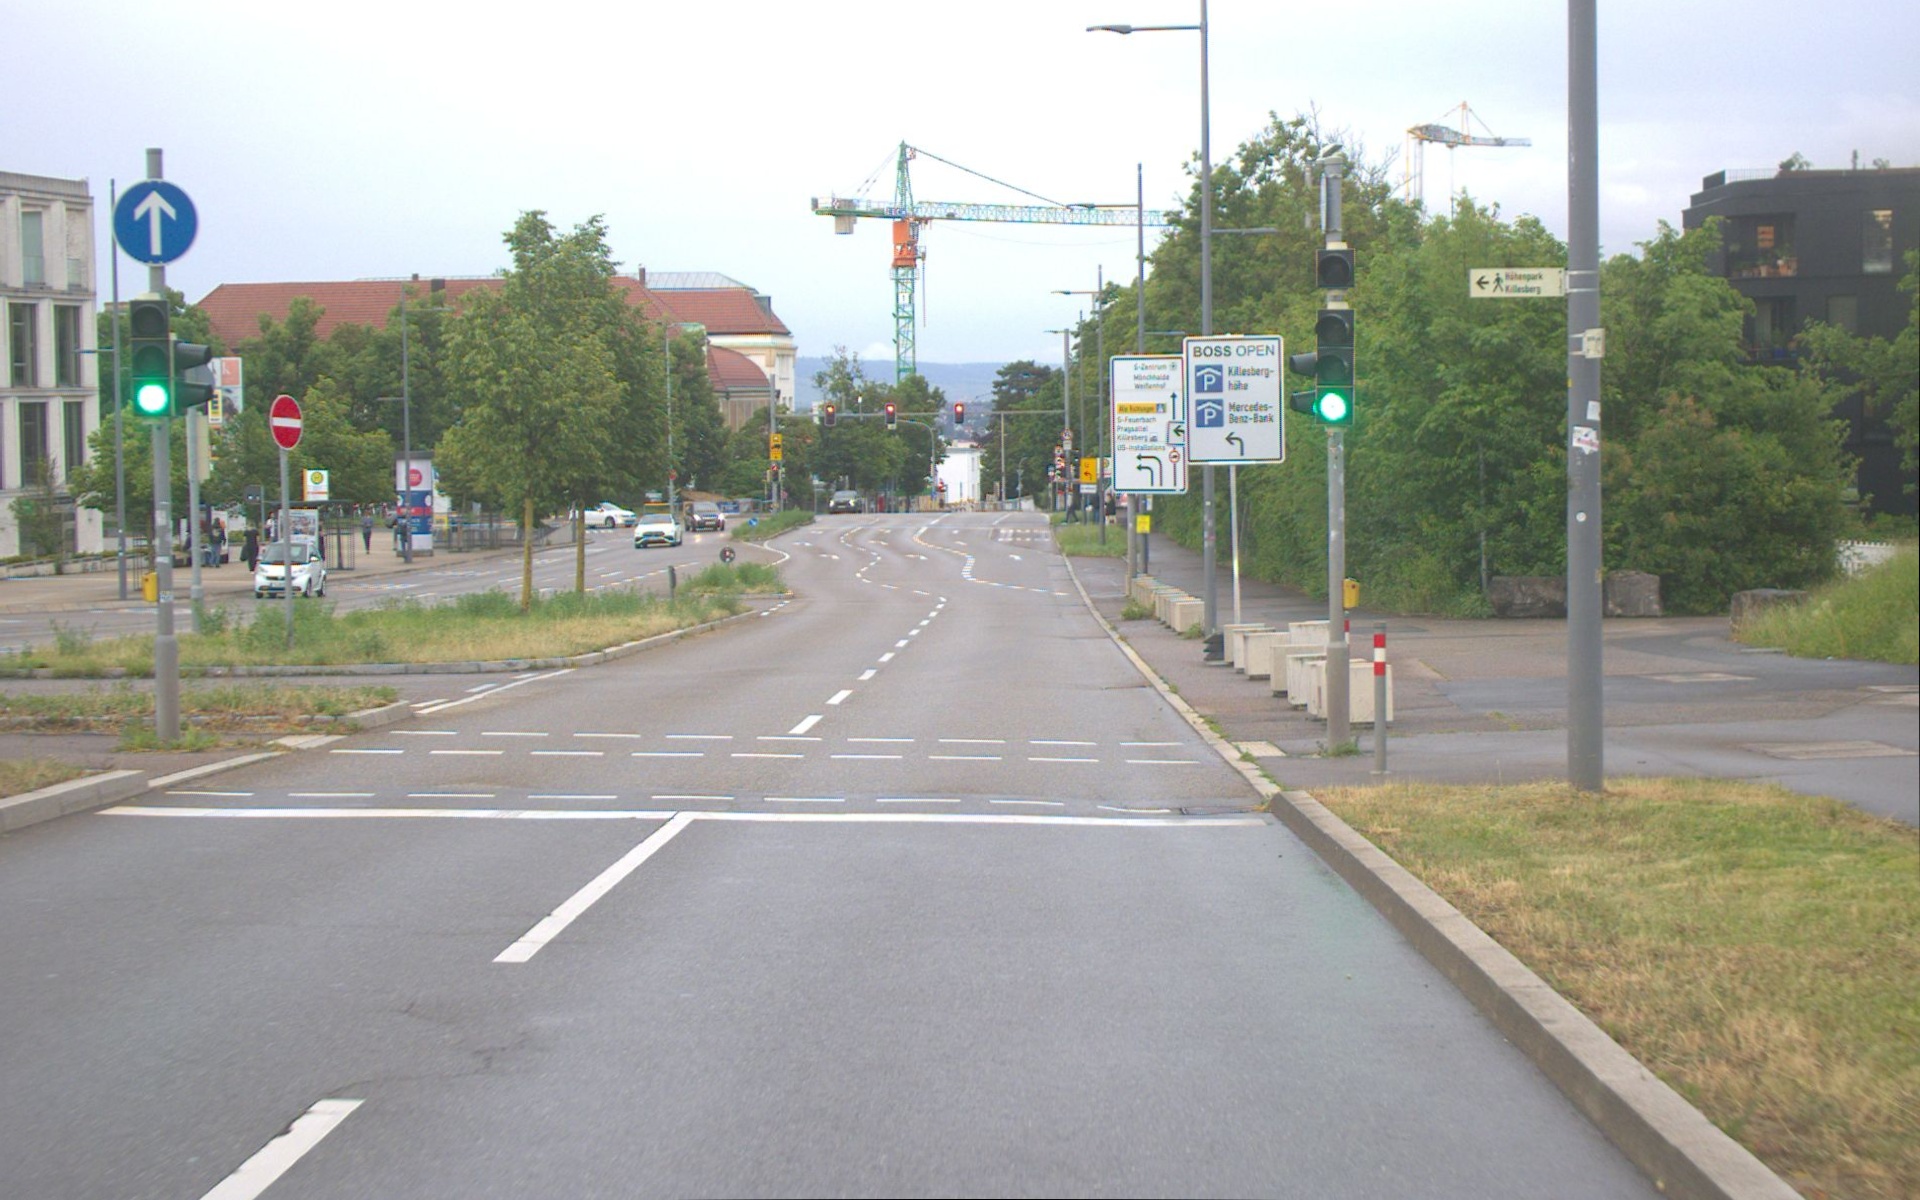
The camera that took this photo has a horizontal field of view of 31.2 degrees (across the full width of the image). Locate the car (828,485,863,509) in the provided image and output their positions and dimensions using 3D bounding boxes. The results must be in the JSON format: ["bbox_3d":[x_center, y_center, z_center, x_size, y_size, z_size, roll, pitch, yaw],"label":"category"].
[{"bbox_3d":[-7.721,-6.958,232.048,1.770,1.489,4.067,-1,0,6],"label":"car"}]

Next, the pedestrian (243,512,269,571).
[{"bbox_3d":[-23.181,-1.920,113.182,0.748,1.940,0.838,-1,0,-17],"label":"pedestrian"}]

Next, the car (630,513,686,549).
[{"bbox_3d":[-13.270,-3.028,151.161,1.769,1.489,4.067,-1,0,5],"label":"car"}]

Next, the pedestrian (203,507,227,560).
[{"bbox_3d":[-26.211,-2.341,120.915,0.748,1.846,0.838,-1,0,-17],"label":"pedestrian"}]

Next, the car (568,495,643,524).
[{"bbox_3d":[-19.814,-5.071,192.357,3.879,1.489,1.734,-1,0,29],"label":"car"}]

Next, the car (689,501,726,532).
[{"bbox_3d":[-13.165,-4.329,179.175,1.769,1.489,4.068,-1,0,-6],"label":"car"}]

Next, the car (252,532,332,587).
[{"bbox_3d":[-18.540,-1.105,95.541,1.478,1.489,2.530,-1,0,6],"label":"car"}]

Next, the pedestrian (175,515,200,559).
[{"bbox_3d":[-27.205,-2.210,121.096,0.835,1.527,0.751,-1,0,-12],"label":"pedestrian"}]

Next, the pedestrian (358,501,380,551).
[{"bbox_3d":[-23.814,-2.982,138.565,0.748,2.007,0.838,-1,0,-17],"label":"pedestrian"}]
